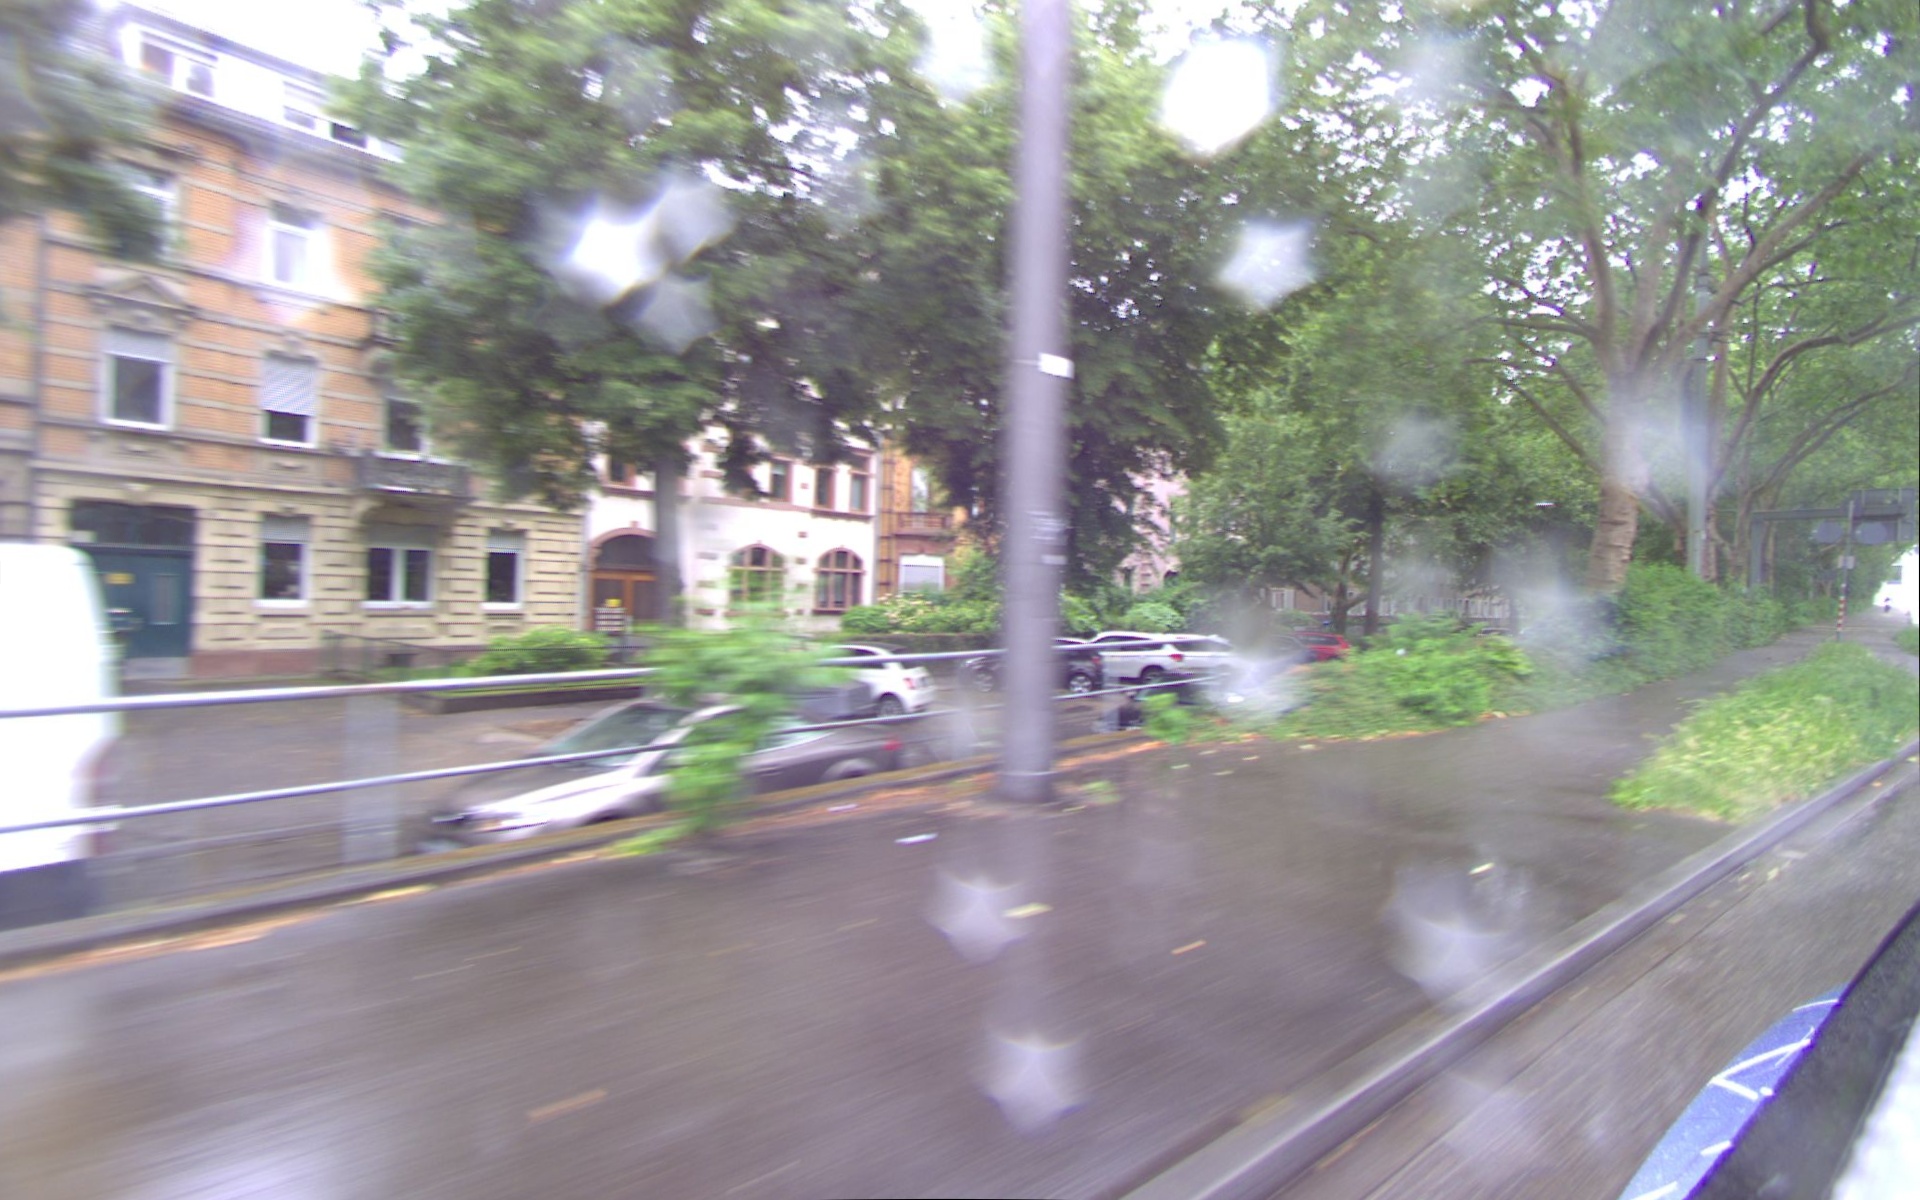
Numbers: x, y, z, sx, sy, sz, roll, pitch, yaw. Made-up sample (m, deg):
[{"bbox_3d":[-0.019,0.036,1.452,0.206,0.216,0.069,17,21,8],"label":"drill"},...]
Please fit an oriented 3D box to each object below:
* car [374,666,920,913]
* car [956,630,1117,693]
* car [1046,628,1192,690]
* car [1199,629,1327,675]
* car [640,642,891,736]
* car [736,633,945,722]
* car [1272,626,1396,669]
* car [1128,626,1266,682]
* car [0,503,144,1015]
[{"bbox_3d":[-2.521,1.411,9.050,1.963,1.370,4.322,-2,-1,39],"label":"car"},{"bbox_3d":[2.030,1.562,26.304,3.938,1.482,1.993,0,0,12],"label":"car"},{"bbox_3d":[4.514,1.622,28.608,3.938,1.629,1.819,0,0,12],"label":"car"},{"bbox_3d":[10.350,1.759,34.862,3.933,1.482,1.908,0,0,9],"label":"car"},{"bbox_3d":[-3.502,1.547,18.356,4.203,1.397,1.683,1,1,16],"label":"car"},{"bbox_3d":[-2.426,1.527,20.677,3.948,1.523,1.649,1,1,19],"label":"car"},{"bbox_3d":[13.610,1.728,37.048,3.933,1.483,1.833,0,0,9],"label":"car"},{"bbox_3d":[7.166,1.637,30.989,3.933,1.586,1.995,0,0,9],"label":"car"},{"bbox_3d":[-7.042,0.789,3.691,2.206,2.451,6.068,-2,-1,40],"label":"car"}]
